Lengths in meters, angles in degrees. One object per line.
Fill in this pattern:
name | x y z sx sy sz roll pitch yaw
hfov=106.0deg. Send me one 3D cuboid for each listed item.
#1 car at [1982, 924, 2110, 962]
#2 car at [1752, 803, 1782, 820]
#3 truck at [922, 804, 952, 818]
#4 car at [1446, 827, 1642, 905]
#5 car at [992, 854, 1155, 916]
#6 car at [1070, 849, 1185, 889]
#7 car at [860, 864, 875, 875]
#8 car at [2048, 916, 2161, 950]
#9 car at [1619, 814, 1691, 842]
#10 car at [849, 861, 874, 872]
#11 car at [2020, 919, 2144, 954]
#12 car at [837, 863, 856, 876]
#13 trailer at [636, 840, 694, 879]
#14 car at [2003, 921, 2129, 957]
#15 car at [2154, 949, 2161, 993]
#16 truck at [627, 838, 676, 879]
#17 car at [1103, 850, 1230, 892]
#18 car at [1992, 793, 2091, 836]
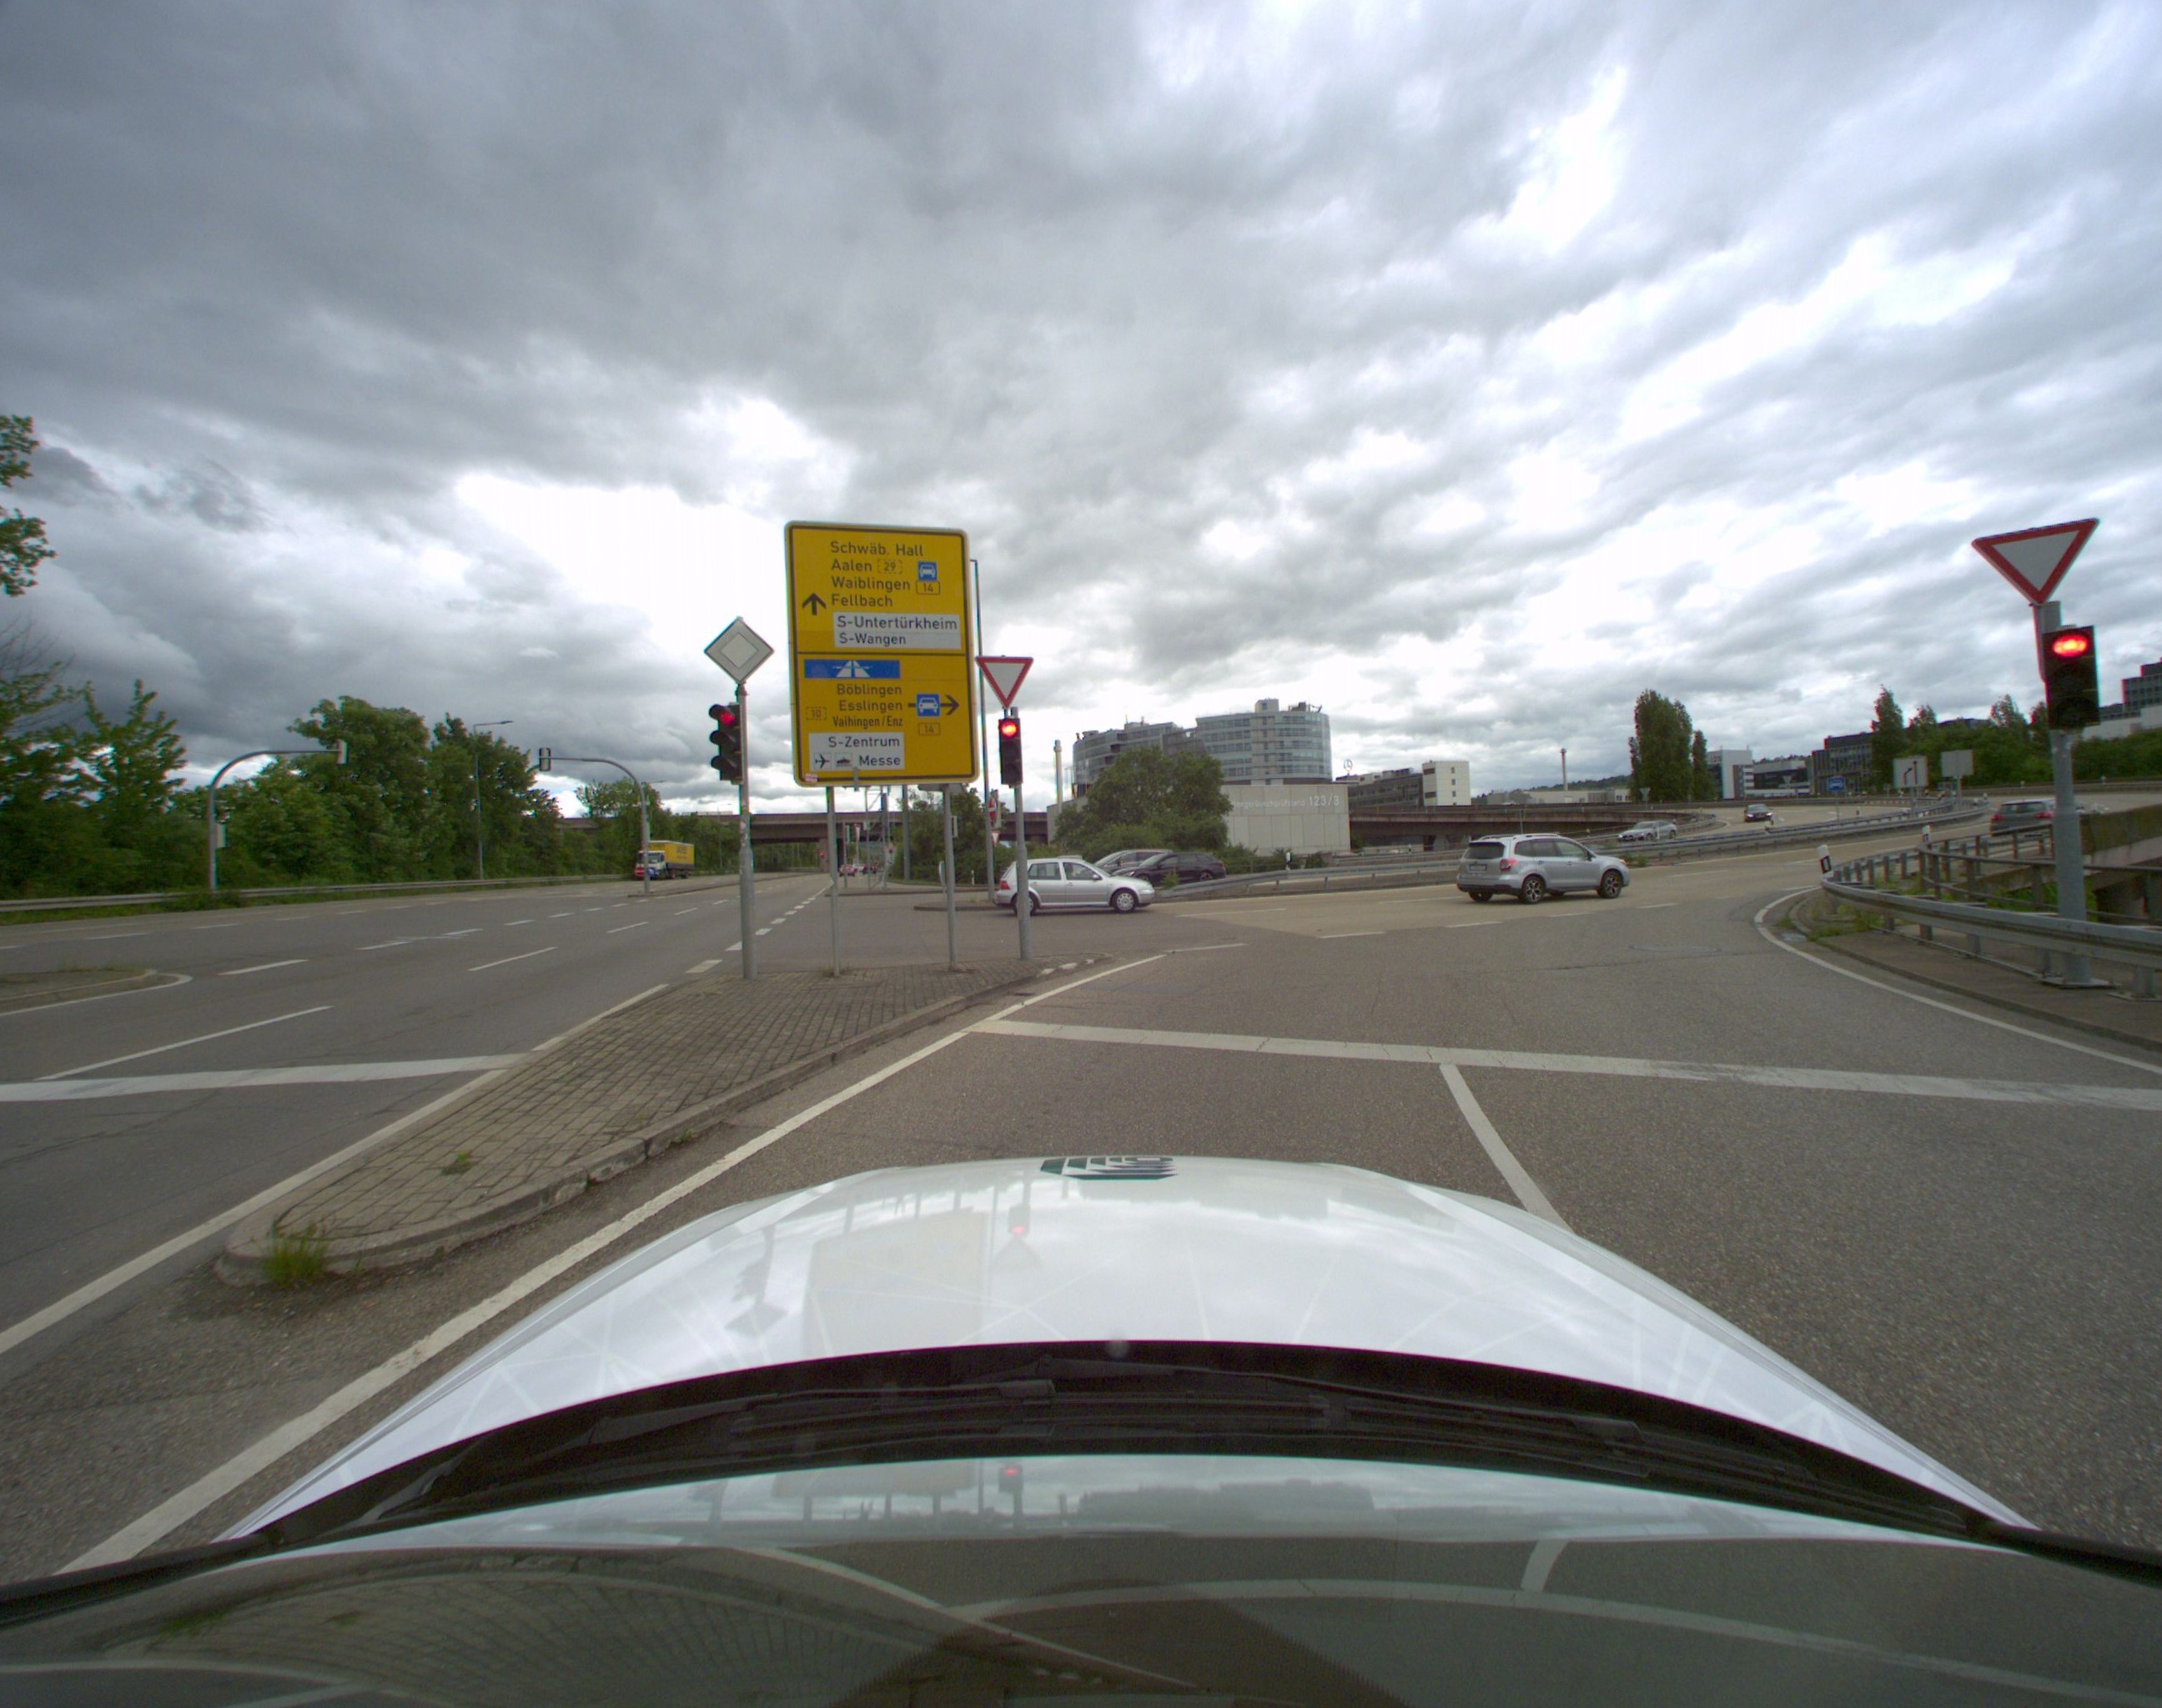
car | 48.160 4.406 40.730 1.832 1.354 3.827 -3 1 -29
car | 60.247 -3.720 71.493 1.891 1.421 4.019 2 3 41
truck | -26.365 -7.878 148.898 5.033 2.321 2.004 -1 0 6
car | 11.787 0.253 20.740 4.554 1.737 1.719 -2 0 -19
car | -0.170 0.785 21.262 4.040 1.400 1.730 -2 0 0
car | 2.033 0.636 35.974 4.689 1.571 1.945 -1 1 -17
car | -30.040 2.157 114.644 1.996 1.464 4.089 0 -2 -14
car | 54.901 4.187 43.553 1.832 1.354 3.827 -3 1 -29
car | 39.601 -1.757 56.199 4.752 1.662 1.900 2 0 -24
car | -39.360 2.286 146.031 4.003 1.860 1.985 2 0 -23
car | 52.249 4.270 42.577 1.832 1.354 3.827 -3 1 -29
car | -27.657 1.812 96.030 1.997 1.442 4.089 0 -2 -15
trailer | -46.286 0.580 91.055 2.874 4.084 11.377 1 0 -13
car | 50.316 4.317 41.683 1.832 1.354 3.827 -3 1 -29
car | 42.298 4.318 30.462 4.006 1.534 1.812 -3 1 -25
truck | -45.056 0.469 85.543 2.874 4.084 6.459 1 0 -13
car | 3.351 0.625 32.115 4.620 1.457 1.943 -1 1 -20
car | 36.728 -1.516 31.117 4.257 1.461 1.713 -3 0 -30
